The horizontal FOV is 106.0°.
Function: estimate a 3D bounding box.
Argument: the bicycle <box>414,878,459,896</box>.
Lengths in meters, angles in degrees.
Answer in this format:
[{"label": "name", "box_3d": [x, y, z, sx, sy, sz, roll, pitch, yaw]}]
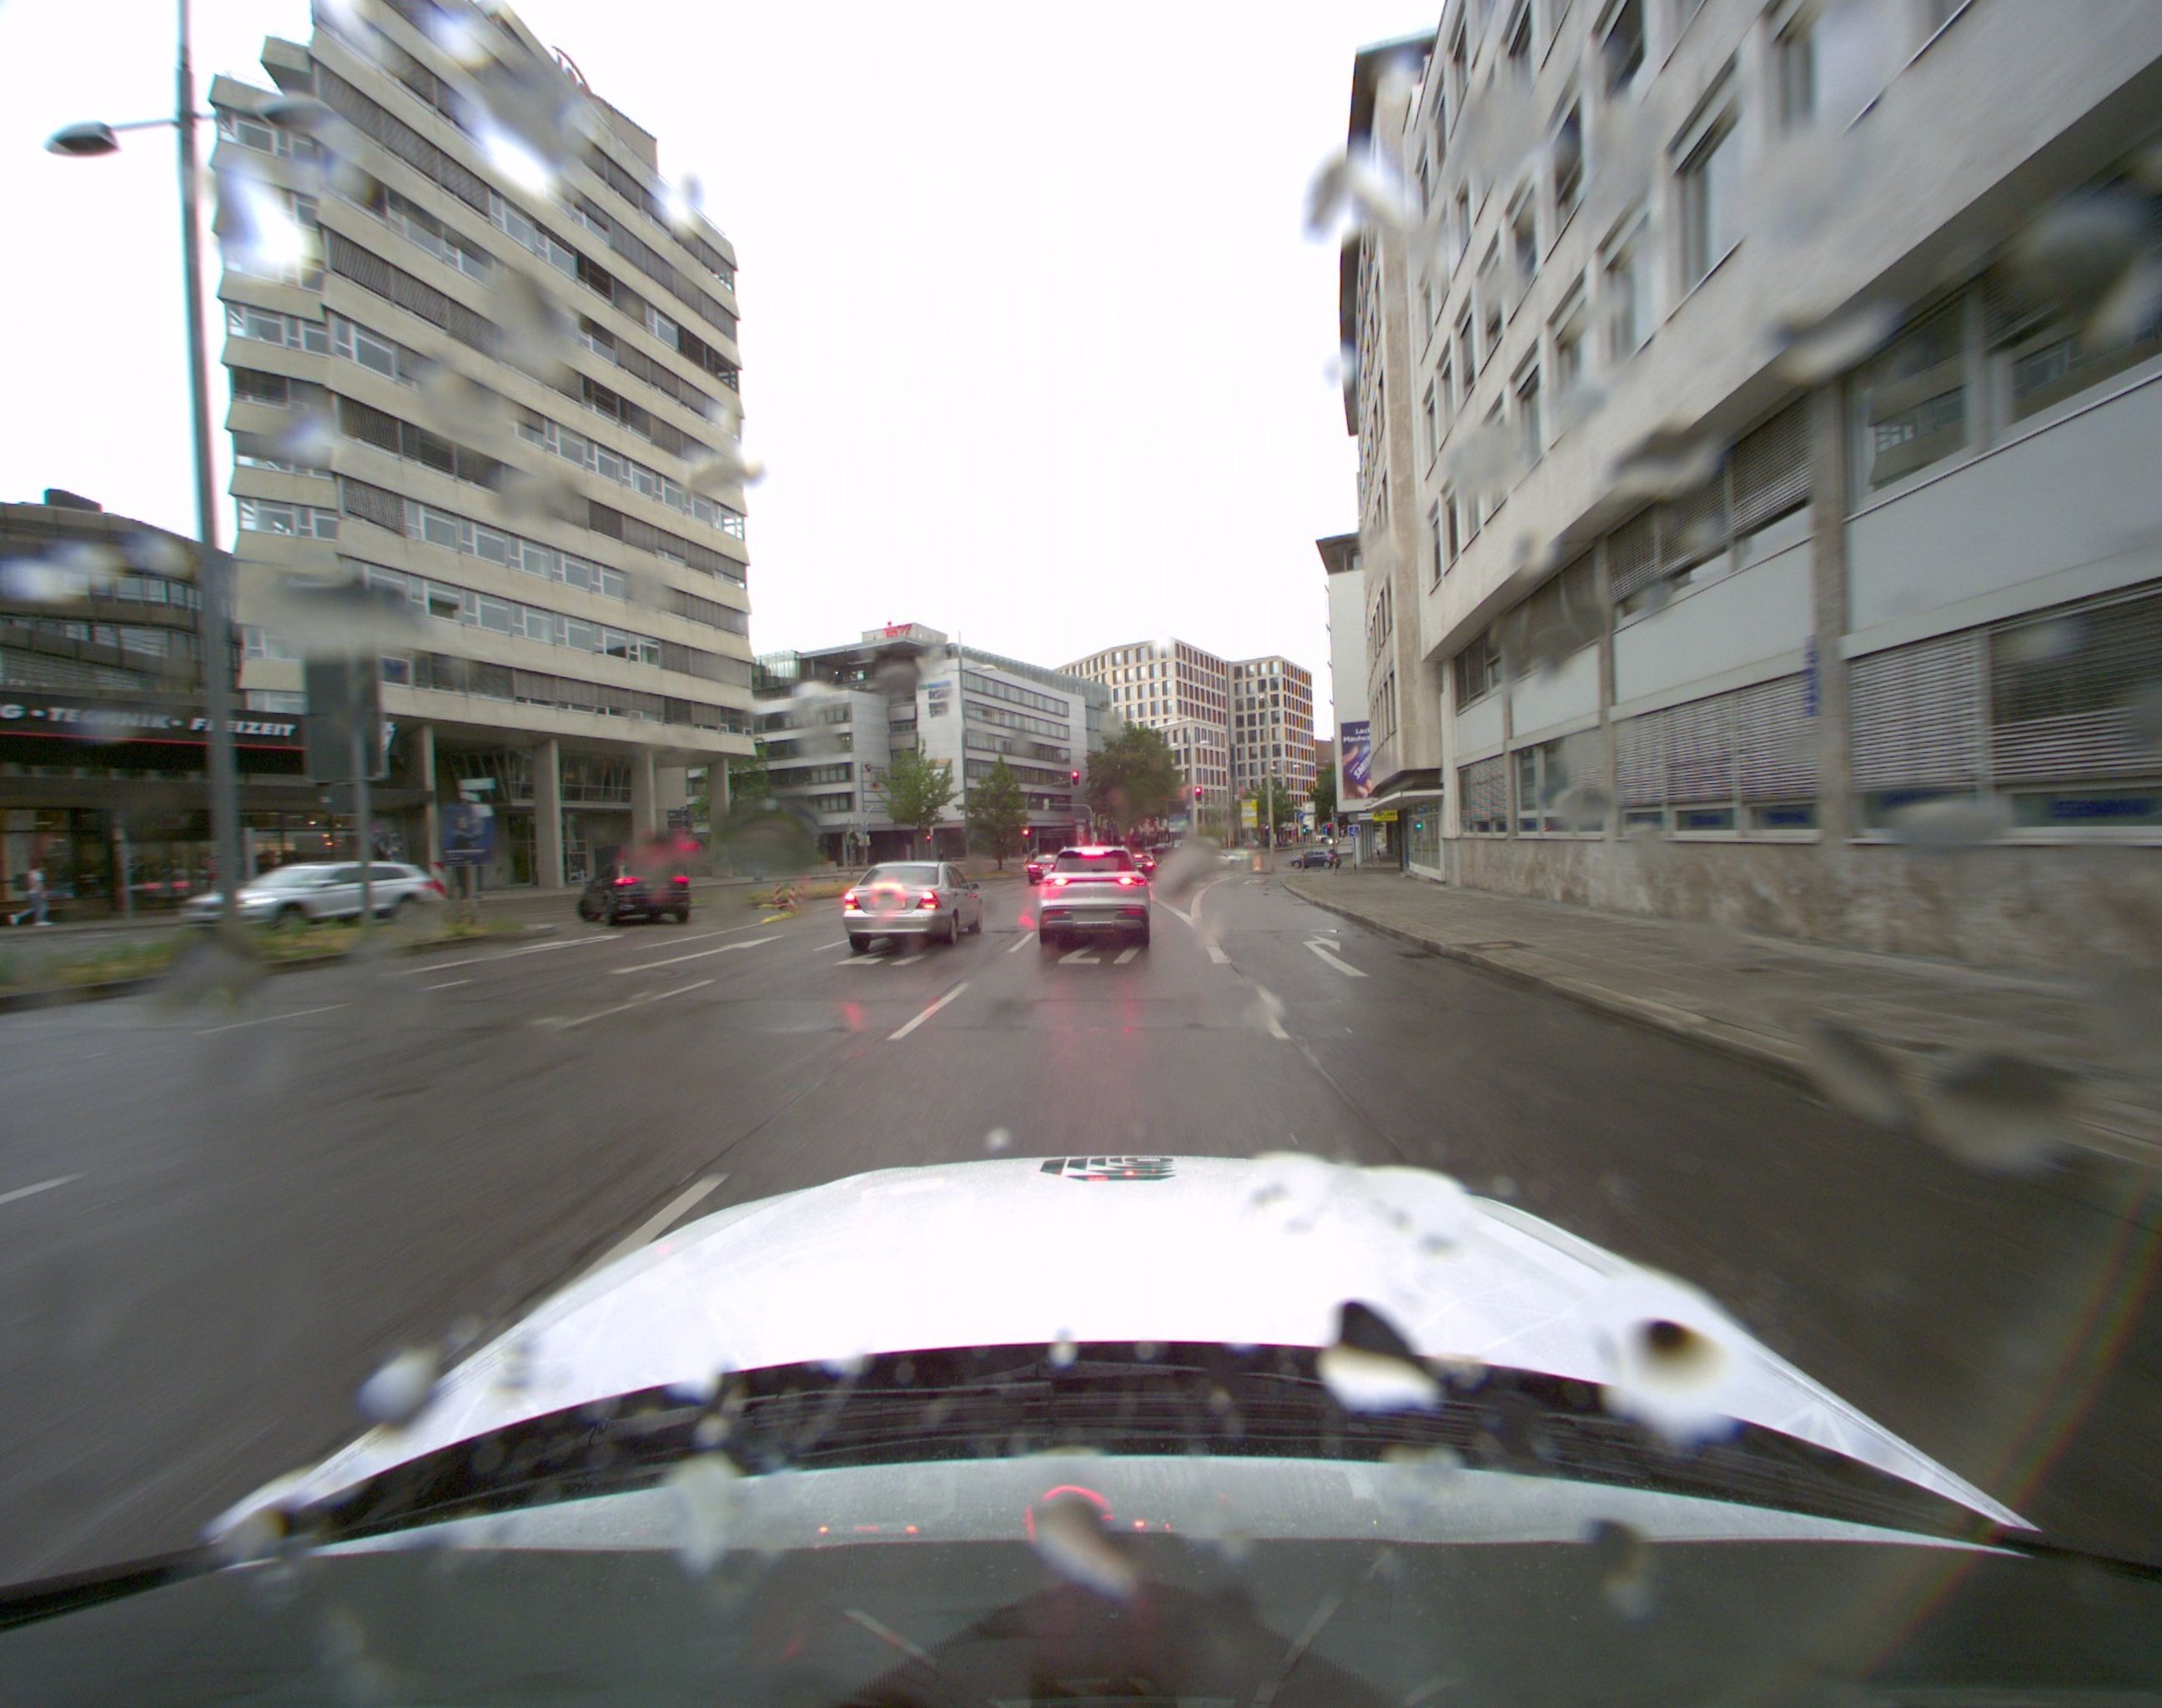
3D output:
[{"label": "bicycle", "box_3d": [-32.240, 1.653, 40.767, 0.450, 0.812, 1.783, -1, 0, 21]}]

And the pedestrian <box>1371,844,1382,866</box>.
[{"label": "pedestrian", "box_3d": [23.841, 0.078, 65.653, 0.759, 1.678, 0.734, -1, 0, 26]}]

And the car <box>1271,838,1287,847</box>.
[{"label": "car", "box_3d": [40.535, -2.452, 167.026, 1.974, 1.705, 4.336, 0, 2, 31]}]

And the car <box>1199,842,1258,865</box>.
[{"label": "car", "box_3d": [11.787, -0.074, 65.378, 2.009, 1.750, 4.481, -1, 1, -36]}]

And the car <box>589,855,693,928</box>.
[{"label": "car", "box_3d": [-10.852, 0.828, 20.049, 2.006, 1.544, 4.439, -1, 0, -30]}]

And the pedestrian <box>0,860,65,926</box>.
[{"label": "pedestrian", "box_3d": [-30.260, 1.103, 23.507, 0.810, 1.832, 0.929, -1, 0, 20]}]

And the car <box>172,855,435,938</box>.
[{"label": "car", "box_3d": [-18.419, 0.911, 19.656, 1.728, 1.728, 4.502, 0, 0, 7]}]

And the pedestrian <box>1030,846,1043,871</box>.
[{"label": "pedestrian", "box_3d": [-3.180, 0.296, 58.311, 0.919, 1.738, 0.729, -1, 0, -1]}]

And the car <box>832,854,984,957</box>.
[{"label": "car", "box_3d": [-2.855, 0.776, 14.360, 1.676, 1.486, 4.197, -1, 0, 1]}]

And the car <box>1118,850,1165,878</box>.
[{"label": "car", "box_3d": [3.498, 0.534, 46.413, 1.941, 1.530, 4.016, -1, 0, 15]}]

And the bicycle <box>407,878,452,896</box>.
[{"label": "bicycle", "box_3d": [-32.784, 1.658, 40.982, 0.450, 0.812, 1.783, -1, 0, 21]}]

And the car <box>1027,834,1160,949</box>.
[{"label": "car", "box_3d": [0.221, 0.551, 14.640, 1.987, 1.709, 4.483, -1, 0, 0]}]

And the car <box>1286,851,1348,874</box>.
[{"label": "car", "box_3d": [18.818, 0.659, 65.047, 4.300, 1.765, 2.067, 0, 1, 37]}]

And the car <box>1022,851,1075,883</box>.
[{"label": "car", "box_3d": [-1.635, 0.629, 42.305, 1.944, 1.530, 4.010, -1, 0, 9]}]

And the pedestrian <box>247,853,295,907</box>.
[{"label": "pedestrian", "box_3d": [-27.986, 0.873, 28.159, 0.721, 1.832, 0.929, -1, 0, 19]}]

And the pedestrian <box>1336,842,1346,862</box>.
[{"label": "pedestrian", "box_3d": [21.366, -0.150, 66.939, 0.721, 1.668, 0.694, -1, -1, 19]}]

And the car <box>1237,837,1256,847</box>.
[{"label": "car", "box_3d": [30.236, -2.255, 148.808, 1.974, 1.705, 4.336, 0, 2, 31]}]

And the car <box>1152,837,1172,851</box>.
[{"label": "car", "box_3d": [12.008, -1.471, 120.686, 1.722, 2.161, 4.518, 0, 0, 22]}]
